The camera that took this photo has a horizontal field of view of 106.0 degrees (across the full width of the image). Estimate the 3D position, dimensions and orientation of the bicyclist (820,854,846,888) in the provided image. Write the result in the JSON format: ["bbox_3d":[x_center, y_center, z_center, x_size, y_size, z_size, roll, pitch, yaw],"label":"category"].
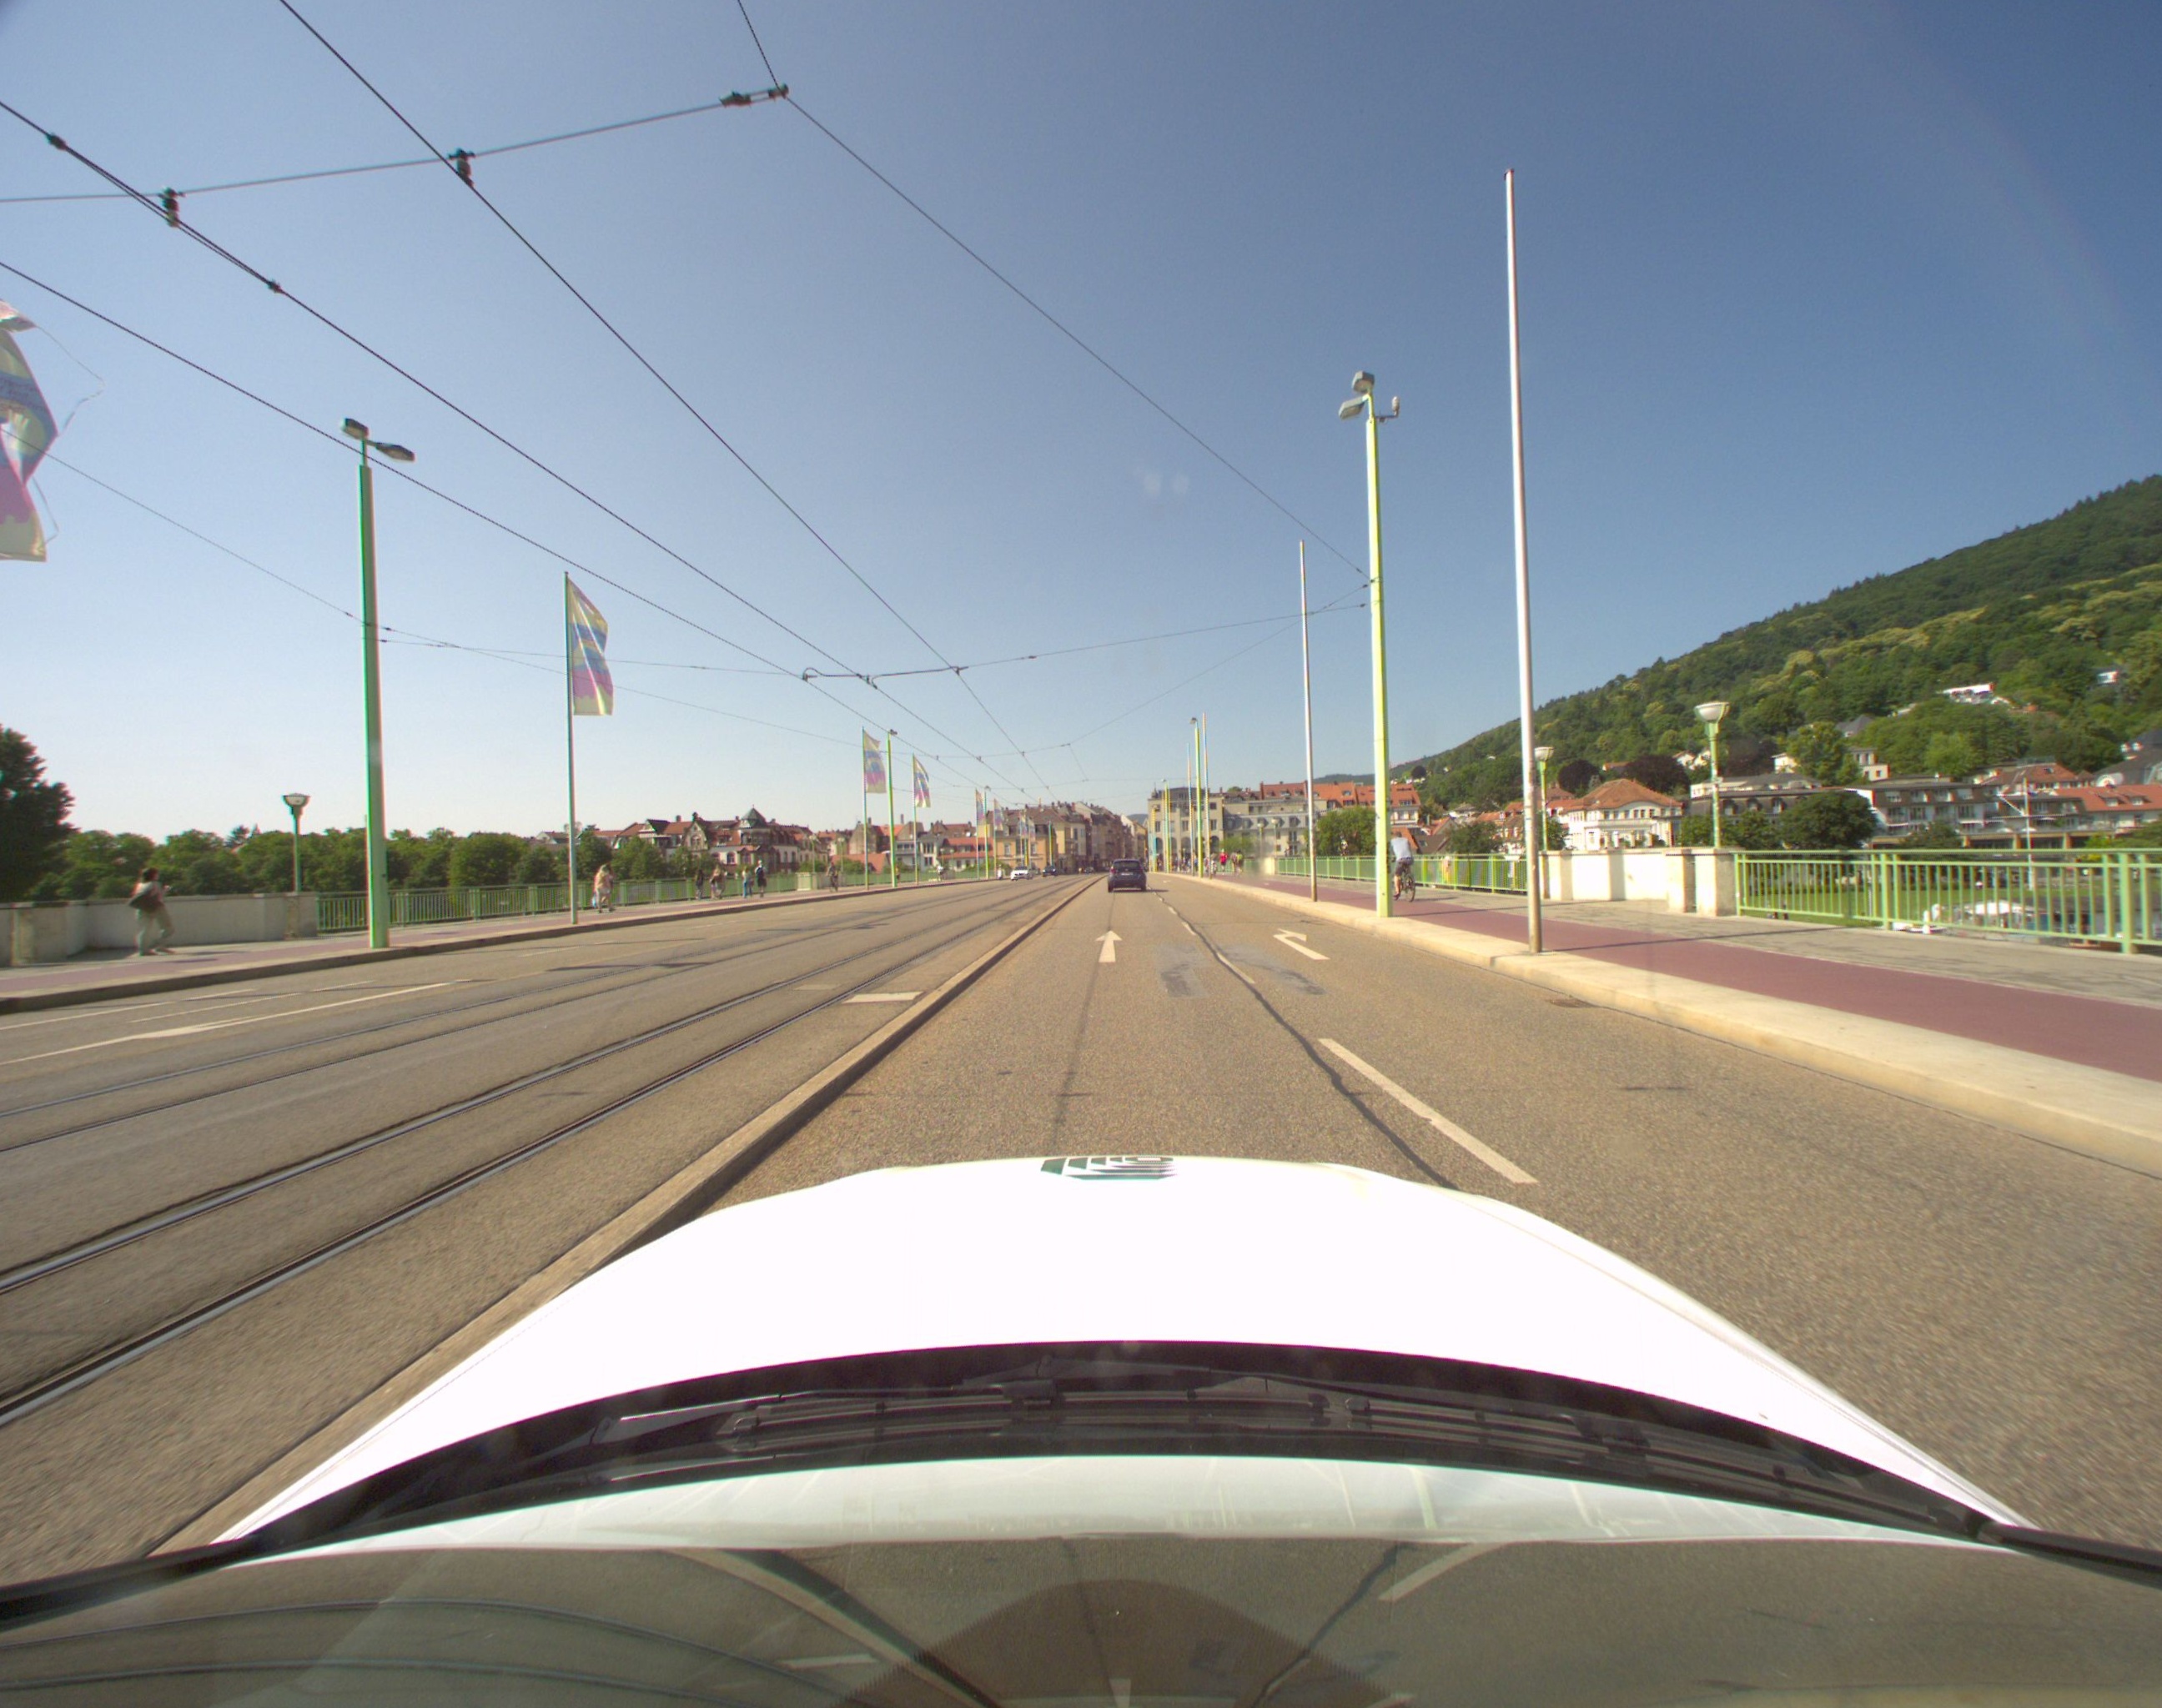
[{"bbox_3d":[-14.603,0.972,48.001,1.094,1.961,1.129,-2,0,0],"label":"bicyclist"}]

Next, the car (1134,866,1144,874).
[{"bbox_3d":[11.150,3.041,156.227,1.795,1.469,4.005,-3,-1,5],"label":"car"}]

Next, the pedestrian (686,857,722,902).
[{"bbox_3d":[-17.530,1.165,37.934,1.094,2.013,1.129,-2,0,0],"label":"pedestrian"}]

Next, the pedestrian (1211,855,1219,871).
[{"bbox_3d":[13.189,0.910,80.083,0.597,1.586,0.867,-2,-1,1],"label":"pedestrian"}]

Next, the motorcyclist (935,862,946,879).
[{"bbox_3d":[-13.052,1.531,75.630,0.797,1.549,1.070,-2,-1,2],"label":"motorcyclist"}]

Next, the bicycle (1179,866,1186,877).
[{"bbox_3d":[10.985,1.894,88.018,0.524,1.178,2.029,-2,-1,1],"label":"bicycle"}]

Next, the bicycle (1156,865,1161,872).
[{"bbox_3d":[11.278,2.145,118.624,0.650,0.981,2.181,-3,-2,5],"label":"bicycle"}]

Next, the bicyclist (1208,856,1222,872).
[{"bbox_3d":[8.950,0.653,54.558,0.732,1.030,1.175,-2,-1,1],"label":"bicyclist"}]

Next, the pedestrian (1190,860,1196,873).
[{"bbox_3d":[13.022,1.412,94.740,0.611,1.466,0.848,-2,-1,2],"label":"pedestrian"}]

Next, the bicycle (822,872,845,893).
[{"bbox_3d":[-14.605,1.683,48.066,0.587,1.096,2.113,-5,0,0],"label":"bicycle"}]

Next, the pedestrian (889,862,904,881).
[{"bbox_3d":[-15.900,1.500,70.246,0.894,1.658,1.030,-1,-1,5],"label":"pedestrian"}]

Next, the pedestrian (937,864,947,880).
[{"bbox_3d":[-15.165,1.981,88.778,0.827,1.722,1.095,-2,-1,3],"label":"pedestrian"}]

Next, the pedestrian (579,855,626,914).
[{"bbox_3d":[-16.806,1.051,28.638,0.966,2.013,1.100,-2,0,-3],"label":"pedestrian"}]

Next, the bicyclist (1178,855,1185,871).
[{"bbox_3d":[10.855,0.931,87.709,0.625,1.689,0.869,-2,-1,1],"label":"bicyclist"}]

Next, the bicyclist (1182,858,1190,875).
[{"bbox_3d":[10.620,1.263,82.433,0.654,1.676,0.869,-2,-1,1],"label":"bicyclist"}]

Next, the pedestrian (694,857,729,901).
[{"bbox_3d":[-17.630,1.179,38.918,1.094,2.013,1.129,-2,0,0],"label":"pedestrian"}]

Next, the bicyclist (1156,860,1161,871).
[{"bbox_3d":[11.233,1.625,118.482,0.650,1.567,1.339,-3,-2,5],"label":"bicyclist"}]

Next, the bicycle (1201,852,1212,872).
[{"bbox_3d":[9.017,0.577,58.461,0.531,1.367,2.223,-2,-1,12],"label":"bicycle"}]

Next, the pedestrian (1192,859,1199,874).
[{"bbox_3d":[13.296,1.441,94.572,0.710,1.811,0.848,-2,-1,2],"label":"pedestrian"}]

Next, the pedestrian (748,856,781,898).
[{"bbox_3d":[-15.639,1.133,40.265,1.094,2.013,1.295,-2,0,0],"label":"pedestrian"}]

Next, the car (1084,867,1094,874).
[{"bbox_3d":[1.877,3.891,188.159,1.983,1.479,4.008,-2,-1,7],"label":"car"}]

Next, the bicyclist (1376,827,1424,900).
[{"bbox_3d":[7.992,0.230,20.448,0.671,1.744,1.150,-2,0,-2],"label":"bicyclist"}]

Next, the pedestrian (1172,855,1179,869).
[{"bbox_3d":[12.316,1.029,106.332,0.830,1.689,0.869,-2,0,2],"label":"pedestrian"}]

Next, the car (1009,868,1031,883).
[{"bbox_3d":[-6.127,2.086,80.877,1.991,1.409,4.537,-2,-1,-6],"label":"car"}]

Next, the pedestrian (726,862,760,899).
[{"bbox_3d":[-16.649,1.283,40.165,1.094,1.729,1.295,-2,0,0],"label":"pedestrian"}]

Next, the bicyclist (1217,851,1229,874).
[{"bbox_3d":[10.482,0.618,60.119,0.732,1.635,0.867,-2,-1,1],"label":"bicyclist"}]

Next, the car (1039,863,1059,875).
[{"bbox_3d":[-4.526,2.115,115.263,1.981,1.599,4.349,-2,-1,10],"label":"car"}]

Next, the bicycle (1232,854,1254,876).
[{"bbox_3d":[9.147,0.650,46.109,0.693,1.193,2.077,-2,-1,-2],"label":"bicycle"}]

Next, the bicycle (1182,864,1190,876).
[{"bbox_3d":[10.635,1.605,82.390,0.591,1.178,1.940,-2,-1,1],"label":"bicycle"}]

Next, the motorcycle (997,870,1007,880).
[{"bbox_3d":[-8.800,2.319,90.796,0.698,1.110,2.180,-2,-1,2],"label":"motorcycle"}]

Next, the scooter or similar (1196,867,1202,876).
[{"bbox_3d":[14.331,2.133,99.027,0.586,1.069,0.865,-2,-1,1],"label":"scooter or similar"}]

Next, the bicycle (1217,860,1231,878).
[{"bbox_3d":[10.512,1.072,60.031,0.616,1.271,2.216,-2,-1,1],"label":"bicycle"}]

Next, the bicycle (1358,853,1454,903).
[{"bbox_3d":[8.007,0.557,20.331,0.790,1.096,3.742,-2,0,-1],"label":"bicycle"}]

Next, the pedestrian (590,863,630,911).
[{"bbox_3d":[-17.427,1.215,30.155,0.752,1.722,1.175,-1,-1,0],"label":"pedestrian"}]

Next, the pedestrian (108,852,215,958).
[{"bbox_3d":[-18.226,0.983,16.171,0.896,2.013,1.042,-2,0,0],"label":"pedestrian"}]

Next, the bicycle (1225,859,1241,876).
[{"bbox_3d":[9.810,0.878,52.580,0.616,1.037,2.267,-2,-1,1],"label":"bicycle"}]

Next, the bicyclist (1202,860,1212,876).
[{"bbox_3d":[9.062,1.000,58.645,0.595,1.101,0.855,-2,-1,12],"label":"bicyclist"}]

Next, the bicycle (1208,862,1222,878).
[{"bbox_3d":[8.961,1.079,54.414,0.616,1.037,2.051,-2,-1,1],"label":"bicycle"}]

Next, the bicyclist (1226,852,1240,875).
[{"bbox_3d":[9.808,0.607,52.587,0.732,1.500,0.980,-2,-1,1],"label":"bicyclist"}]

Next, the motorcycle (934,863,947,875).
[{"bbox_3d":[-13.041,1.384,75.696,0.698,1.110,2.180,-2,-1,2],"label":"motorcycle"}]

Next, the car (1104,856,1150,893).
[{"bbox_3d":[2.062,0.899,37.547,1.904,1.540,4.000,-2,0,0],"label":"car"}]

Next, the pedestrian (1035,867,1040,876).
[{"bbox_3d":[-8.336,3.332,156.887,0.759,1.665,0.664,-2,-1,5],"label":"pedestrian"}]

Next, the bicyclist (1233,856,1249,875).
[{"bbox_3d":[9.132,0.632,46.468,0.665,1.045,0.979,-2,-1,-2],"label":"bicyclist"}]

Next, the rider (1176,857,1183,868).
[{"bbox_3d":[13.420,1.114,110.899,0.885,1.505,0.841,-2,-1,1],"label":"rider"}]

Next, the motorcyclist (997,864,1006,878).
[{"bbox_3d":[-8.865,1.924,90.944,0.824,1.574,0.832,-2,-1,2],"label":"motorcyclist"}]
